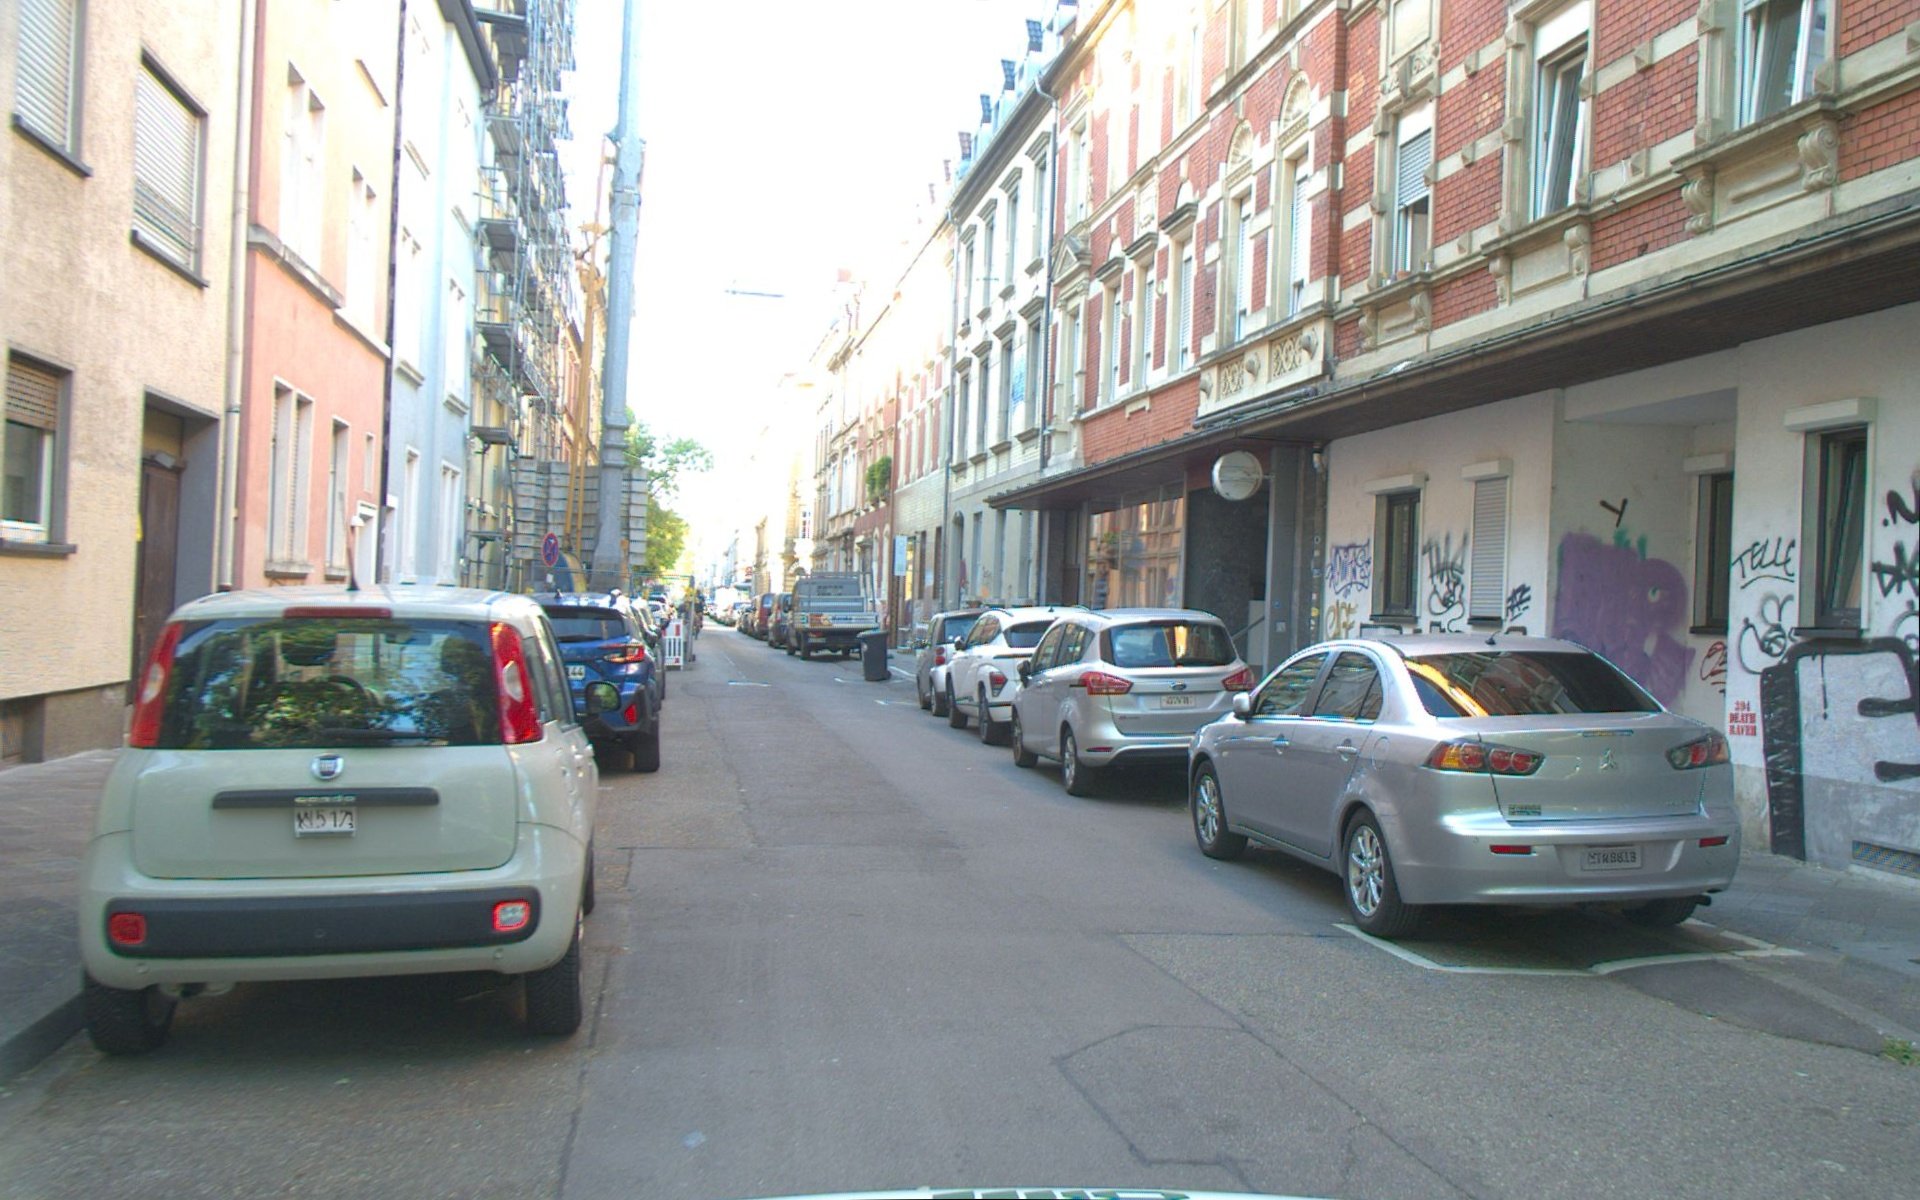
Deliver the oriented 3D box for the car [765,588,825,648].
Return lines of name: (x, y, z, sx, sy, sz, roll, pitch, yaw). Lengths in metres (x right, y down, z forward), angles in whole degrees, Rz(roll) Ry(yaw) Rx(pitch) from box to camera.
car: (-5.859, 0.616, 58.349, 1.645, 1.997, 4.096, 2, -1, -12)

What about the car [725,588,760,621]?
car: (-14.260, 0.268, 108.107, 1.958, 2.049, 3.989, 2, 0, -11)

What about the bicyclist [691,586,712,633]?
bicyclist: (-10.057, 0.354, 64.231, 0.717, 1.792, 0.833, 3, 0, -10)

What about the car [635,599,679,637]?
car: (-12.440, 0.731, 67.757, 1.645, 1.470, 3.857, 2, -1, -12)

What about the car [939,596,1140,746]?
car: (0.897, 0.837, 21.243, 1.714, 1.705, 4.331, 2, -1, -9)

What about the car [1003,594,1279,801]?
car: (1.572, 0.829, 15.691, 1.610, 1.685, 3.861, 2, -1, -9)

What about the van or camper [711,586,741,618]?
van or camper: (-19.260, 0.179, 136.056, 1.960, 2.552, 4.187, 1, 0, -14)

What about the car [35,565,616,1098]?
car: (-2.302, 0.698, 6.937, 1.645, 1.567, 3.857, 1, 0, -12)

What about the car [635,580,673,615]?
car: (-14.399, -0.108, 77.722, 1.645, 1.598, 3.857, 2, -1, -12)

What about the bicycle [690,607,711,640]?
bicycle: (-10.091, 0.894, 64.255, 0.711, 1.207, 2.038, 3, 0, -9)

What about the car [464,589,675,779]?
car: (-3.691, 0.704, 15.925, 1.699, 1.567, 4.364, 1, 0, -12)

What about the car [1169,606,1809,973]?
car: (2.700, 0.876, 9.658, 1.690, 1.589, 4.388, 2, 0, -10)

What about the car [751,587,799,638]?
car: (-7.919, 0.542, 70.646, 1.645, 2.067, 3.857, 2, -1, -12)

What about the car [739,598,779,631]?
car: (-10.234, 0.719, 83.898, 1.645, 1.598, 3.857, 2, -1, -12)

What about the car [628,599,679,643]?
car: (-10.977, 0.739, 59.084, 1.645, 1.470, 3.857, 2, -1, -12)

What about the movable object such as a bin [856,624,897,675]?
movable object such as a bin: (-1.821, 1.075, 36.003, 0.780, 1.074, 0.658, 2, -1, -10)

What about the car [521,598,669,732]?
car: (-4.639, 0.771, 21.476, 1.644, 1.538, 4.404, 2, -1, -10)

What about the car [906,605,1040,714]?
car: (0.140, 0.888, 26.459, 1.567, 1.587, 3.806, 1, 0, -8)

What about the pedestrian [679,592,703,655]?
pedestrian: (-7.528, 0.647, 46.218, 0.646, 1.763, 0.718, 0, 0, -10)

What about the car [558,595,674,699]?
car: (-5.459, 0.703, 26.631, 1.644, 1.503, 4.596, 2, -1, -10)

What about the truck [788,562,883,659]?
truck: (-3.691, 0.295, 48.098, 2.151, 2.652, 5.220, 1, 0, -11)

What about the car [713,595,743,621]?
car: (-17.041, 0.570, 121.587, 1.958, 1.881, 3.989, 1, 0, -11)
